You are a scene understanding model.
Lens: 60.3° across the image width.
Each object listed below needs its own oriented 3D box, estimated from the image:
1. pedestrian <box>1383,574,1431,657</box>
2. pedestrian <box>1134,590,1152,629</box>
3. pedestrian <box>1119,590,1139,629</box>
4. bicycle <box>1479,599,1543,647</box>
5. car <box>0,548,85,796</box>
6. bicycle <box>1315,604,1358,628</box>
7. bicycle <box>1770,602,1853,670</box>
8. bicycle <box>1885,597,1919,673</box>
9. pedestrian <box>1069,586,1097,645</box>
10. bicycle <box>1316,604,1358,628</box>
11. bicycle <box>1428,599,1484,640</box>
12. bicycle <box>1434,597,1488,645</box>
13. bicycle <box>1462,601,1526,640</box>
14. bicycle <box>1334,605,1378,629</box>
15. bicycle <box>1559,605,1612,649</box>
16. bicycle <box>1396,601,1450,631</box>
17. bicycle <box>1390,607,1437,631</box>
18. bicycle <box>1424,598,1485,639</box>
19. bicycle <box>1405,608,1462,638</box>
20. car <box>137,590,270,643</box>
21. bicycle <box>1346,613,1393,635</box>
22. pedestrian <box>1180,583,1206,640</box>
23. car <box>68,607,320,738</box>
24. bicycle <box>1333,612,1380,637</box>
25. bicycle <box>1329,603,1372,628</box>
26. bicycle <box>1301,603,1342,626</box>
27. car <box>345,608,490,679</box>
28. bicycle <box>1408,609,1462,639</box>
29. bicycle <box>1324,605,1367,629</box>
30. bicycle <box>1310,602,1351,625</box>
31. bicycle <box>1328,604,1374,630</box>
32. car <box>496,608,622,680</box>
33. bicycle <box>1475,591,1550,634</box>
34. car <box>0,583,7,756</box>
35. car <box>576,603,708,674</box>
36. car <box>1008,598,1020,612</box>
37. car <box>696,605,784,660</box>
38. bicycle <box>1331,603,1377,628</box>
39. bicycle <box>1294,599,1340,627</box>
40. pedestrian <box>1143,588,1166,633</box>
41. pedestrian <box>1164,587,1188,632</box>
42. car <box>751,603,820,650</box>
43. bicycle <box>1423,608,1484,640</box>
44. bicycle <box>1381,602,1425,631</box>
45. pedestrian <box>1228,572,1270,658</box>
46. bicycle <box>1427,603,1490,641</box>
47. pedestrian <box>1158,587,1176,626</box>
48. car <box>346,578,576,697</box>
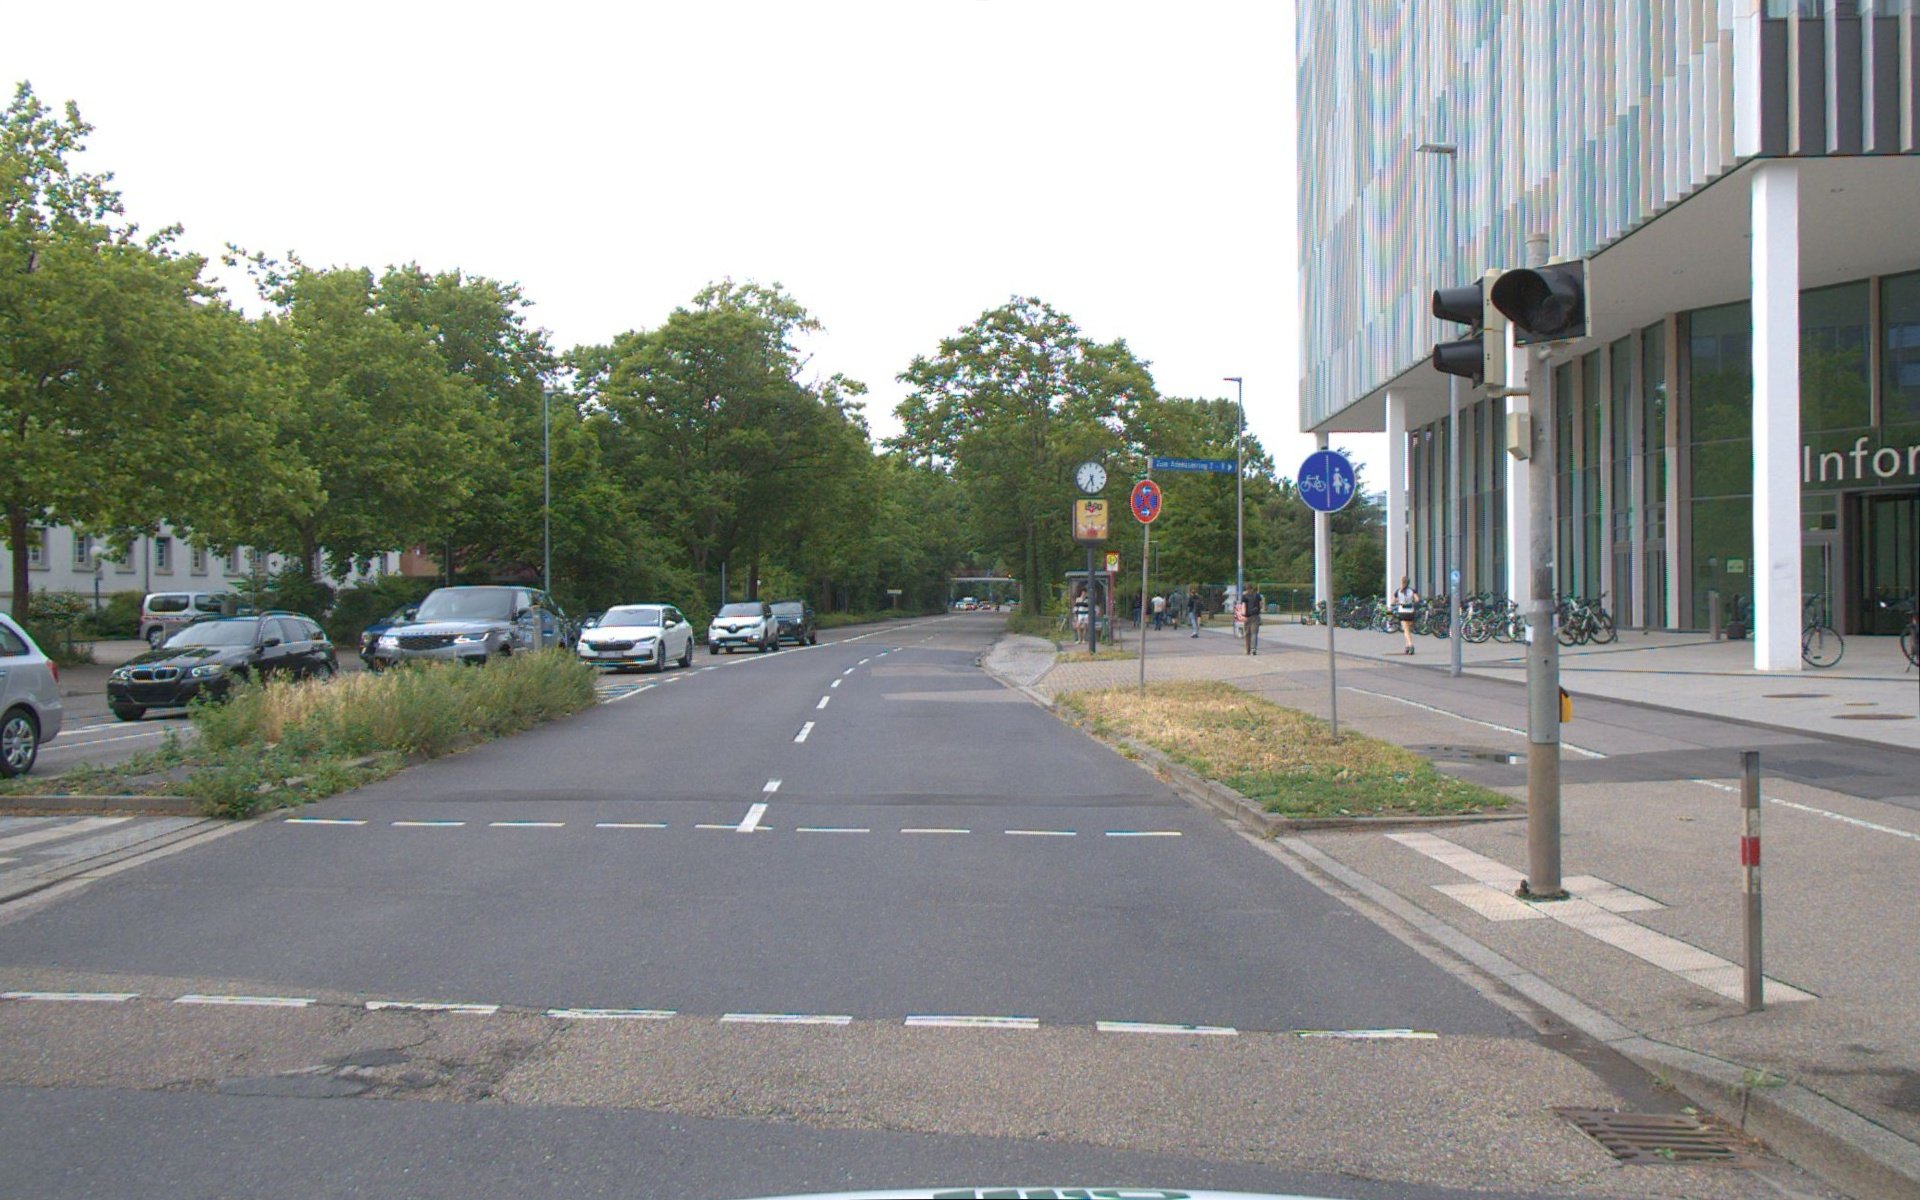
[{"bbox_3d":[10.136,0.347,37.527,0.825,1.868,0.894,-1,0,2],"label":"pedestrian"},{"bbox_3d":[9.552,0.493,86.326,0.807,2.049,0.720,-1,-1,-2],"label":"pedestrian"},{"bbox_3d":[8.846,0.489,86.688,0.907,2.049,1.039,-1,0,-2],"label":"pedestrian"},{"bbox_3d":[13.310,0.543,39.979,0.596,1.099,1.959,-3,0,-9],"label":"bicycle"},{"bbox_3d":[-8.956,0.612,12.934,1.952,2.049,4.001,-1,0,2],"label":"car"},{"bbox_3d":[15.231,0.642,66.934,1.573,0.890,0.556,-2,0,3],"label":"bicycle"},{"bbox_3d":[14.223,0.581,27.665,0.625,1.080,1.842,1,0,7],"label":"bicycle"},{"bbox_3d":[15.069,0.515,25.479,2.163,1.135,0.725,-1,0,-41],"label":"bicycle"},{"bbox_3d":[4.395,0.550,59.193,0.893,2.048,0.854,-2,1,1],"label":"pedestrian"},{"bbox_3d":[15.119,0.647,66.351,1.573,0.890,0.556,-2,-1,3],"label":"bicycle"},{"bbox_3d":[13.891,0.545,46.356,1.371,1.062,0.559,-3,-1,3],"label":"bicycle"},{"bbox_3d":[12.947,0.537,42.803,0.623,1.160,2.200,-3,0,-2],"label":"bicycle"},{"bbox_3d":[14.659,0.563,45.406,1.572,0.952,0.569,-3,0,13],"label":"bicycle"},{"bbox_3d":[15.357,0.662,64.133,1.573,0.890,0.556,-2,0,3],"label":"bicycle"},{"bbox_3d":[14.422,0.608,38.109,1.472,0.945,0.435,-2,1,-37],"label":"bicycle"},{"bbox_3d":[15.273,0.525,54.539,1.655,0.963,0.517,-1,0,9],"label":"bicycle"},{"bbox_3d":[15.109,0.634,55.159,1.404,0.759,0.556,-2,0,3],"label":"bicycle"},{"bbox_3d":[14.489,0.541,48.485,1.609,1.110,0.573,-4,-1,11],"label":"bicycle"},{"bbox_3d":[14.341,0.693,50.149,1.572,0.890,0.556,-1,0,3],"label":"bicycle"},{"bbox_3d":[-24.586,0.527,53.826,3.512,1.630,1.652,1,0,0],"label":"car"},{"bbox_3d":[14.627,0.850,59.117,1.527,0.729,0.556,-2,0,3],"label":"bicycle"},{"bbox_3d":[8.455,0.428,60.077,0.825,2.049,0.895,-1,0,3],"label":"pedestrian"},{"bbox_3d":[-11.021,0.981,24.124,1.663,1.719,4.001,-1,0,2],"label":"car"},{"bbox_3d":[14.031,0.865,58.539,1.500,0.848,0.556,-2,0,3],"label":"bicycle"},{"bbox_3d":[14.093,0.568,59.757,1.424,0.854,0.556,-2,0,3],"label":"bicycle"},{"bbox_3d":[14.849,0.577,67.913,1.573,0.890,0.556,-2,0,3],"label":"bicycle"},{"bbox_3d":[-13.543,1.045,41.600,1.820,1.636,4.595,1,0,4],"label":"car"},{"bbox_3d":[14.965,0.769,52.112,1.572,0.912,0.366,-1,-1,3],"label":"bicycle"},{"bbox_3d":[15.233,0.675,65.329,1.573,0.890,0.556,-2,0,3],"label":"bicycle"},{"bbox_3d":[15.397,0.557,68.745,1.574,0.890,0.556,-1,0,-1],"label":"bicycle"},{"bbox_3d":[14.313,0.609,60.565,1.573,0.890,0.556,-2,0,3],"label":"bicycle"},{"bbox_3d":[-10.205,1.087,42.453,1.952,1.723,4.469,-1,0,2],"label":"car"},{"bbox_3d":[16.198,0.382,48.495,1.953,1.164,0.644,-3,0,44],"label":"bicycle"},{"bbox_3d":[-11.429,0.733,15.835,1.734,1.880,4.491,1,0,4],"label":"car"},{"bbox_3d":[-7.224,0.836,38.032,1.864,1.491,4.912,1,0,2],"label":"car"},{"bbox_3d":[8.528,0.788,258.759,1.805,2.049,4.001,1,0,2],"label":"car"},{"bbox_3d":[-6.769,0.978,51.242,1.952,1.574,4.181,-2,0,2],"label":"car"},{"bbox_3d":[14.652,0.574,61.550,1.573,0.890,0.556,-2,0,3],"label":"bicycle"},{"bbox_3d":[15.074,0.558,69.903,1.757,1.100,0.626,-3,0,1],"label":"bicycle"},{"bbox_3d":[9.021,0.485,76.691,0.907,2.049,1.039,-1,0,-2],"label":"pedestrian"},{"bbox_3d":[9.951,0.446,76.349,0.907,2.049,1.039,-1,0,-2],"label":"pedestrian"},{"bbox_3d":[-6.355,0.938,60.733,1.863,1.621,4.518,-1,0,2],"label":"car"},{"bbox_3d":[14.179,0.683,47.511,1.572,0.890,0.556,-1,0,3],"label":"bicycle"},{"bbox_3d":[14.306,0.527,53.425,1.256,0.890,0.556,-2,0,3],"label":"bicycle"},{"bbox_3d":[7.056,0.362,40.456,0.825,2.049,0.895,-3,-1,4],"label":"pedestrian"},{"bbox_3d":[14.144,0.620,46.914,1.573,0.999,0.556,-3,-1,3],"label":"bicycle"},{"bbox_3d":[10.839,0.344,86.587,0.807,2.049,0.720,-1,-1,2],"label":"pedestrian"},{"bbox_3d":[-7.914,0.542,26.772,1.952,1.717,4.950,1,0,3],"label":"car"}]
